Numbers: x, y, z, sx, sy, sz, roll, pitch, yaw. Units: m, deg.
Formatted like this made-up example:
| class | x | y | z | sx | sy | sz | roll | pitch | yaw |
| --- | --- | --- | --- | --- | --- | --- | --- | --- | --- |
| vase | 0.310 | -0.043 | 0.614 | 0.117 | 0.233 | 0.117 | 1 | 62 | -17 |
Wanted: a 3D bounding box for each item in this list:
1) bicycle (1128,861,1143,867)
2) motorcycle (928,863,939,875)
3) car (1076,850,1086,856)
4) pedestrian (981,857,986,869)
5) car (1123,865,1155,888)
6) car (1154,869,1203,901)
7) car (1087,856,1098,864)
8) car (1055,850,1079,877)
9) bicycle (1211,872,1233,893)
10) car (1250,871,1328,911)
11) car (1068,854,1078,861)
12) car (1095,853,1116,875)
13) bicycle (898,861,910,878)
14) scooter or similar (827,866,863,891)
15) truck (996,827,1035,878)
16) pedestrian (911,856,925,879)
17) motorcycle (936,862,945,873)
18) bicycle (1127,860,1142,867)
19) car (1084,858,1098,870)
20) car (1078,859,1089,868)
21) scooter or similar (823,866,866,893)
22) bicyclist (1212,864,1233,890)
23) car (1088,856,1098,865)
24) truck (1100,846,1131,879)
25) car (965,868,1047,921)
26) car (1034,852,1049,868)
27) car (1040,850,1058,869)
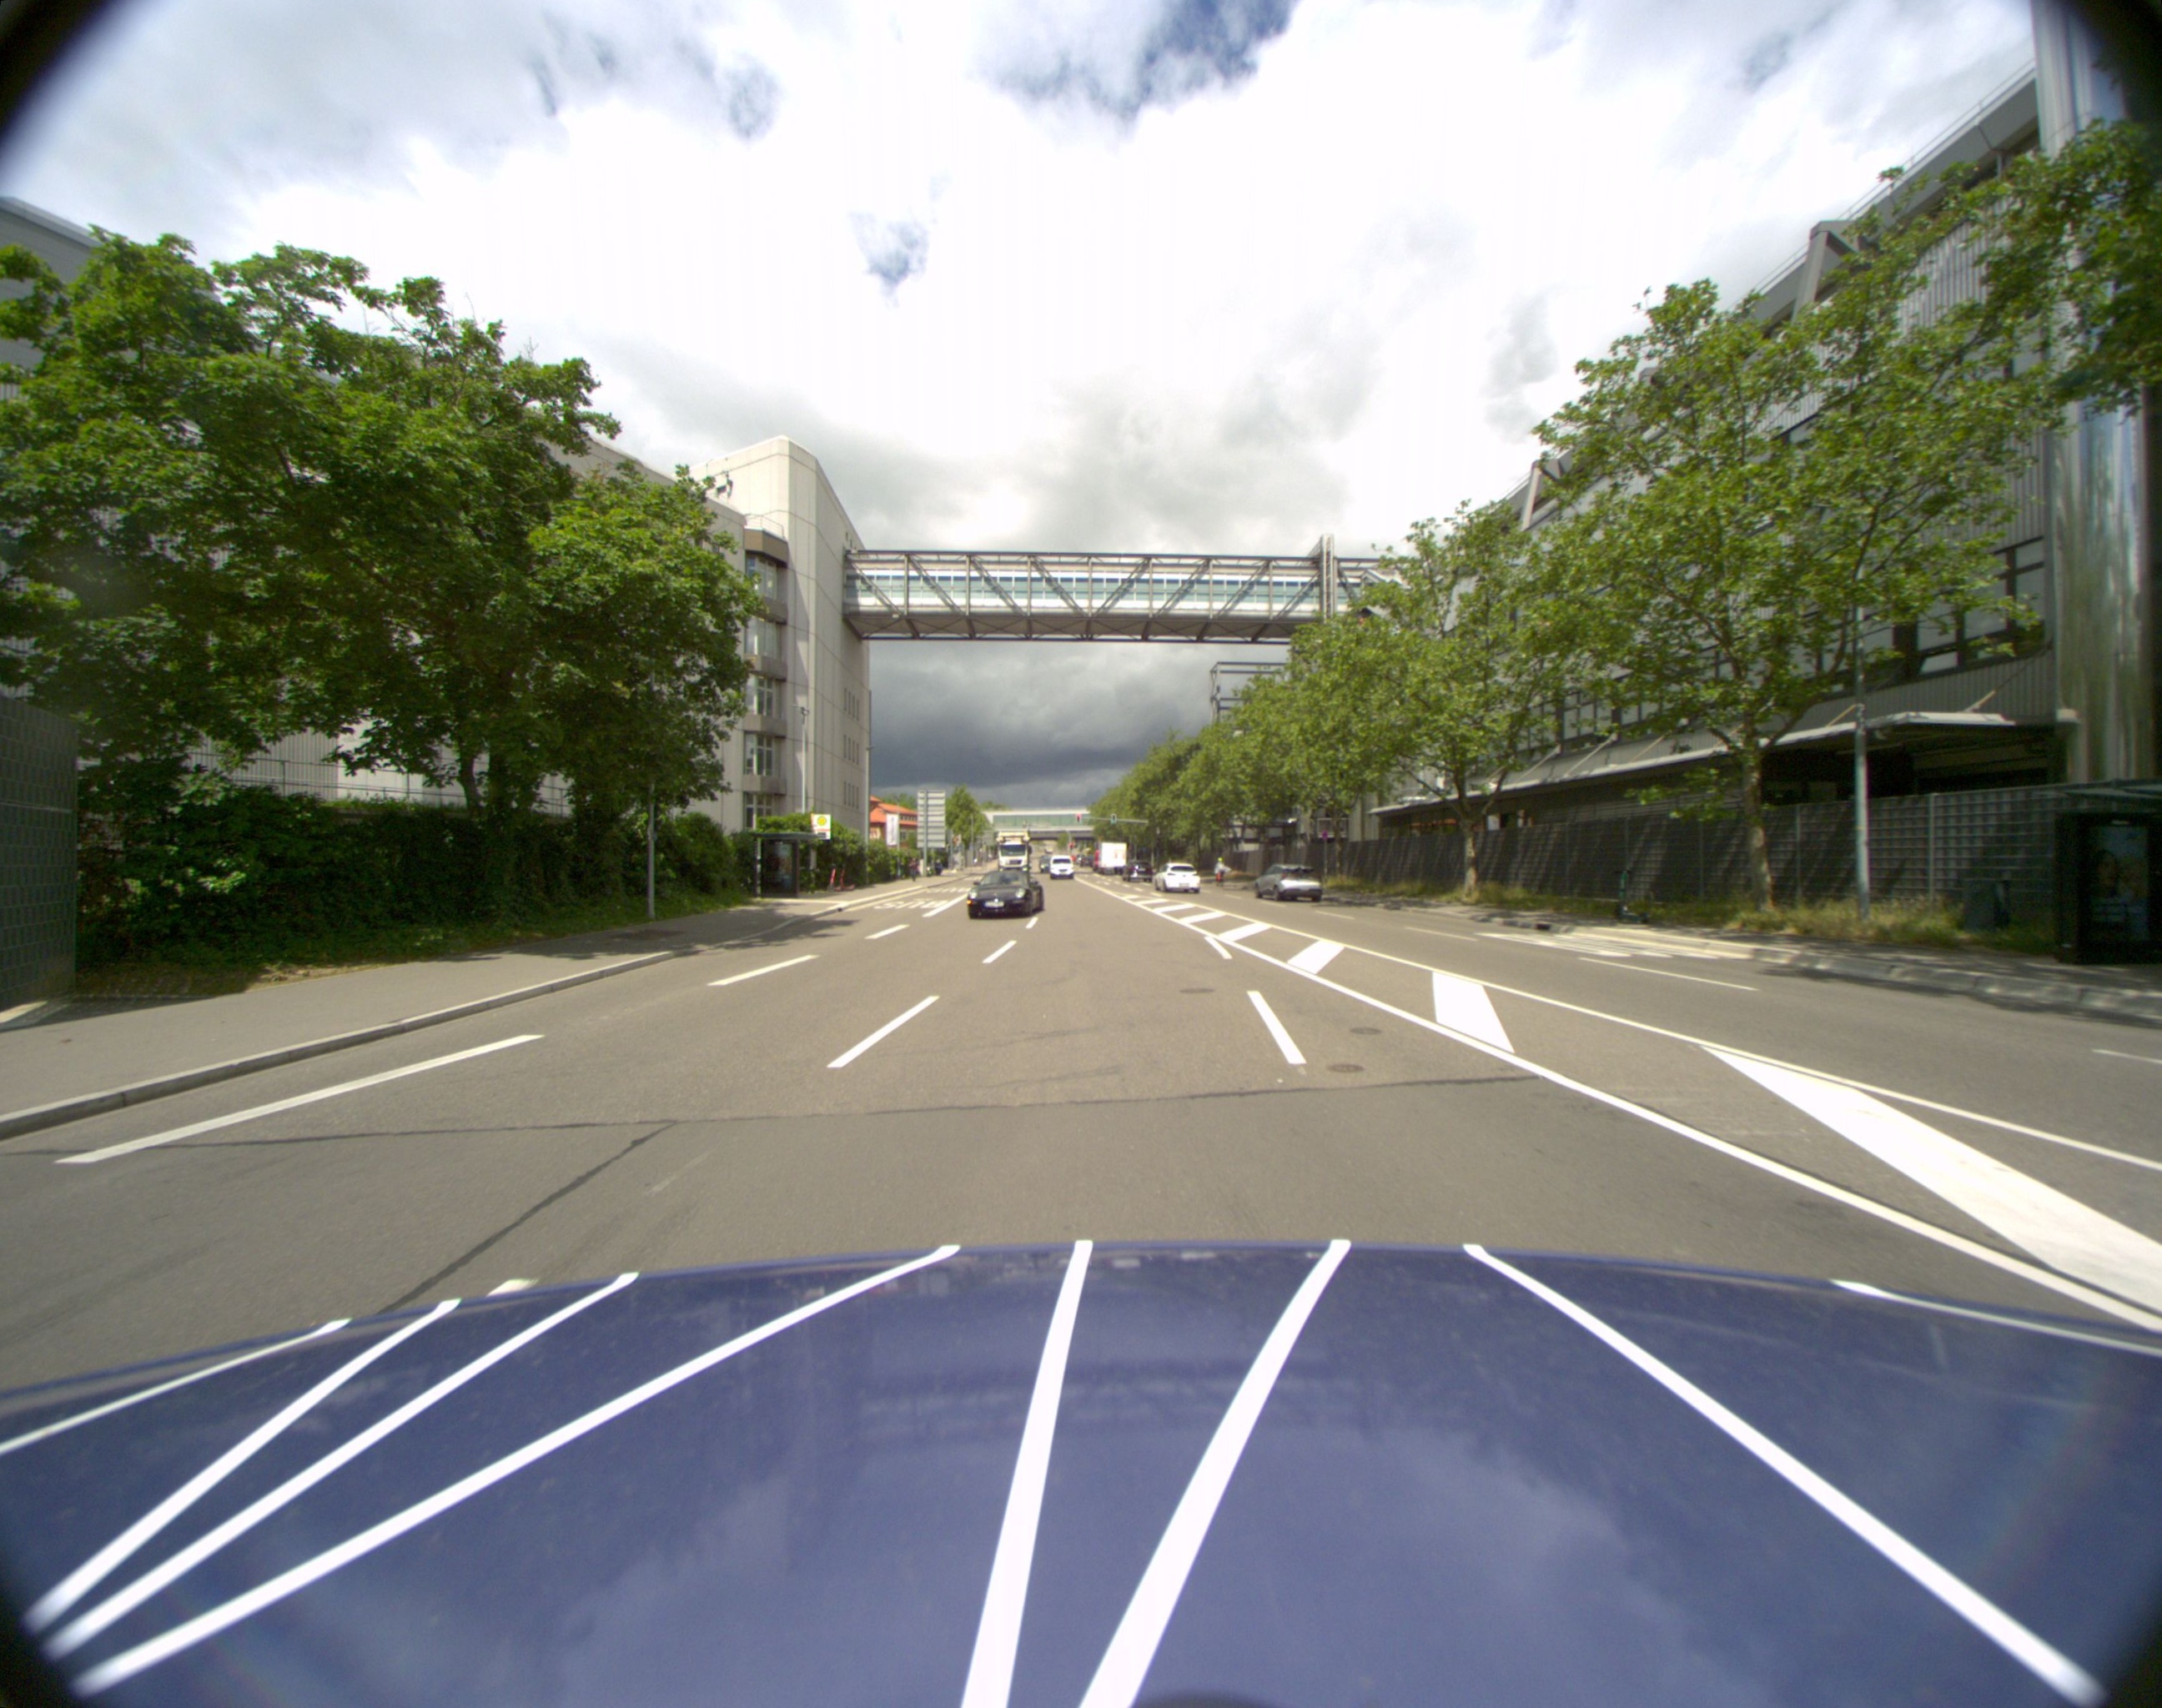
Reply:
| class | x | y | z | sx | sy | sz | roll | pitch | yaw |
| --- | --- | --- | --- | --- | --- | --- | --- | --- | --- |
| bicycle | 9.397 | 1.718 | 131.559 | 2.561 | 1.079 | 0.616 | -1 | 1 | 4 |
| motorcycle | -12.784 | 1.288 | 65.946 | 0.592 | 1.061 | 2.036 | 1 | 0 | -3 |
| car | 0.004 | -0.162 | 194.217 | 1.999 | 1.445 | 4.766 | 2 | 0 | -4 |
| pedestrian | -14.845 | 1.380 | 115.504 | 0.729 | 1.756 | 1.015 | -1 | 1 | -3 |
| car | 4.172 | 1.610 | 55.241 | 1.745 | 1.571 | 4.266 | 2 | 0 | -2 |
| car | 4.833 | 1.530 | 38.202 | 1.696 | 1.406 | 4.144 | 2 | 0 | -3 |
| car | 2.257 | 1.164 | 149.111 | 1.697 | 1.421 | 3.821 | 1 | -1 | -4 |
| car | -1.104 | 0.776 | 60.185 | 1.825 | 2.001 | 4.392 | 0 | -2 | 0 |
| bicycle | 8.995 | 1.831 | 48.634 | 0.738 | 1.227 | 2.472 | 1 | 0 | -5 |
| car | 8.675 | 1.504 | 32.052 | 1.884 | 1.496 | 4.189 | 2 | -1 | -4 |
| car | -1.654 | 0.714 | 164.160 | 1.890 | 1.445 | 3.901 | 2 | 0 | -4 |
| car | 2.830 | 1.158 | 90.214 | 2.069 | 2.492 | 5.478 | 1 | 0 | -2 |
| bicycle | -12.893 | 1.142 | 55.424 | 0.444 | 1.173 | 2.468 | -1 | 0 | -3 |
| scooter or similar | -10.880 | 1.113 | 35.070 | 0.542 | 1.156 | 1.795 | 1 | 0 | 24 |
| truck | -5.348 | -0.150 | 63.826 | 2.714 | 3.863 | 10.738 | -1 | 0 | -3 |
| pedestrian | -11.428 | 0.944 | 53.190 | 0.812 | 1.635 | 0.997 | 1 | 0 | -5 |
| motorcycle | -13.295 | 1.283 | 72.061 | 0.592 | 1.061 | 2.036 | 2 | 0 | -3 |
| bicycle | 9.235 | 1.687 | 130.538 | 2.562 | 1.079 | 0.616 | -1 | 1 | 3 |
| car | 1.450 | 1.495 | 113.638 | 1.741 | 1.674 | 4.212 | -1 | 0 | -3 |
| car | 0.431 | 1.620 | 130.867 | 1.562 | 1.496 | 3.612 | 2 | 0 | -3 |
| scooter or similar | -10.561 | 1.121 | 33.939 | 0.542 | 1.156 | 2.131 | 1 | 0 | 24 |
| bicyclist | 9.029 | 1.466 | 48.627 | 0.958 | 1.588 | 1.222 | 2 | 0 | -6 |
| car | 2.274 | 1.175 | 149.155 | 1.740 | 1.674 | 3.783 | -1 | 0 | -2 |
| truck | 3.333 | 0.777 | 75.647 | 2.459 | 3.110 | 7.241 | -1 | 0 | -2 |
| car | -2.074 | 1.109 | 22.076 | 1.839 | 1.317 | 4.001 | -2 | -1 | 1 |
| car | -5.434 | 0.806 | 104.531 | 1.872 | 1.944 | 4.710 | -2 | 1 | -2 |
| car | -3.468 | 0.561 | 83.153 | 1.872 | 1.944 | 4.710 | -2 | 1 | -2 |
